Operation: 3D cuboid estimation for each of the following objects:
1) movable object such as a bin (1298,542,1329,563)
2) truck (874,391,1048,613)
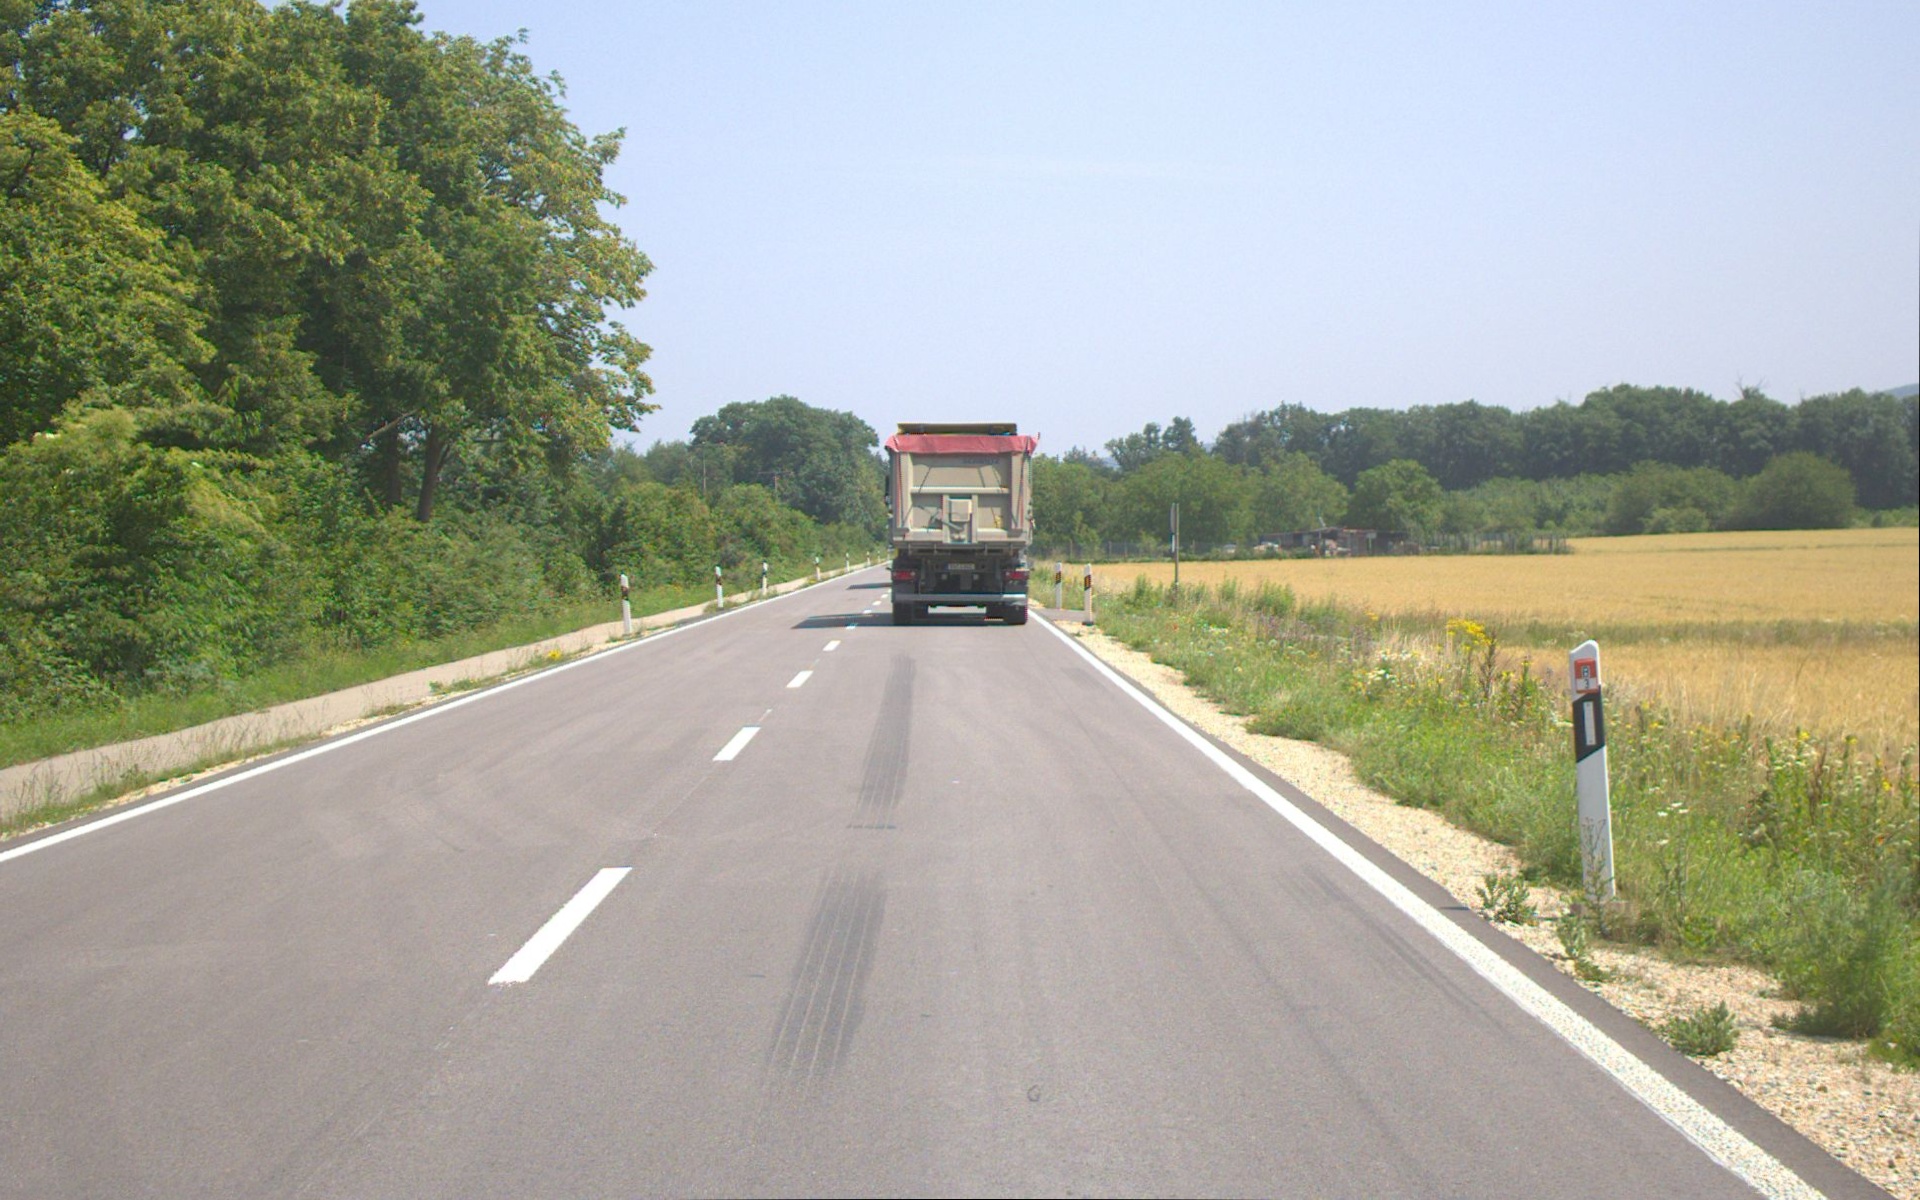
[{"bbox_3d":[25.674,-3.475,249.493,1.570,1.491,3.659,-1,1,-5],"label":"movable object such as a bin"},{"bbox_3d":[-0.004,-1.791,66.580,3.009,3.861,12.209,1,1,0],"label":"truck"}]
